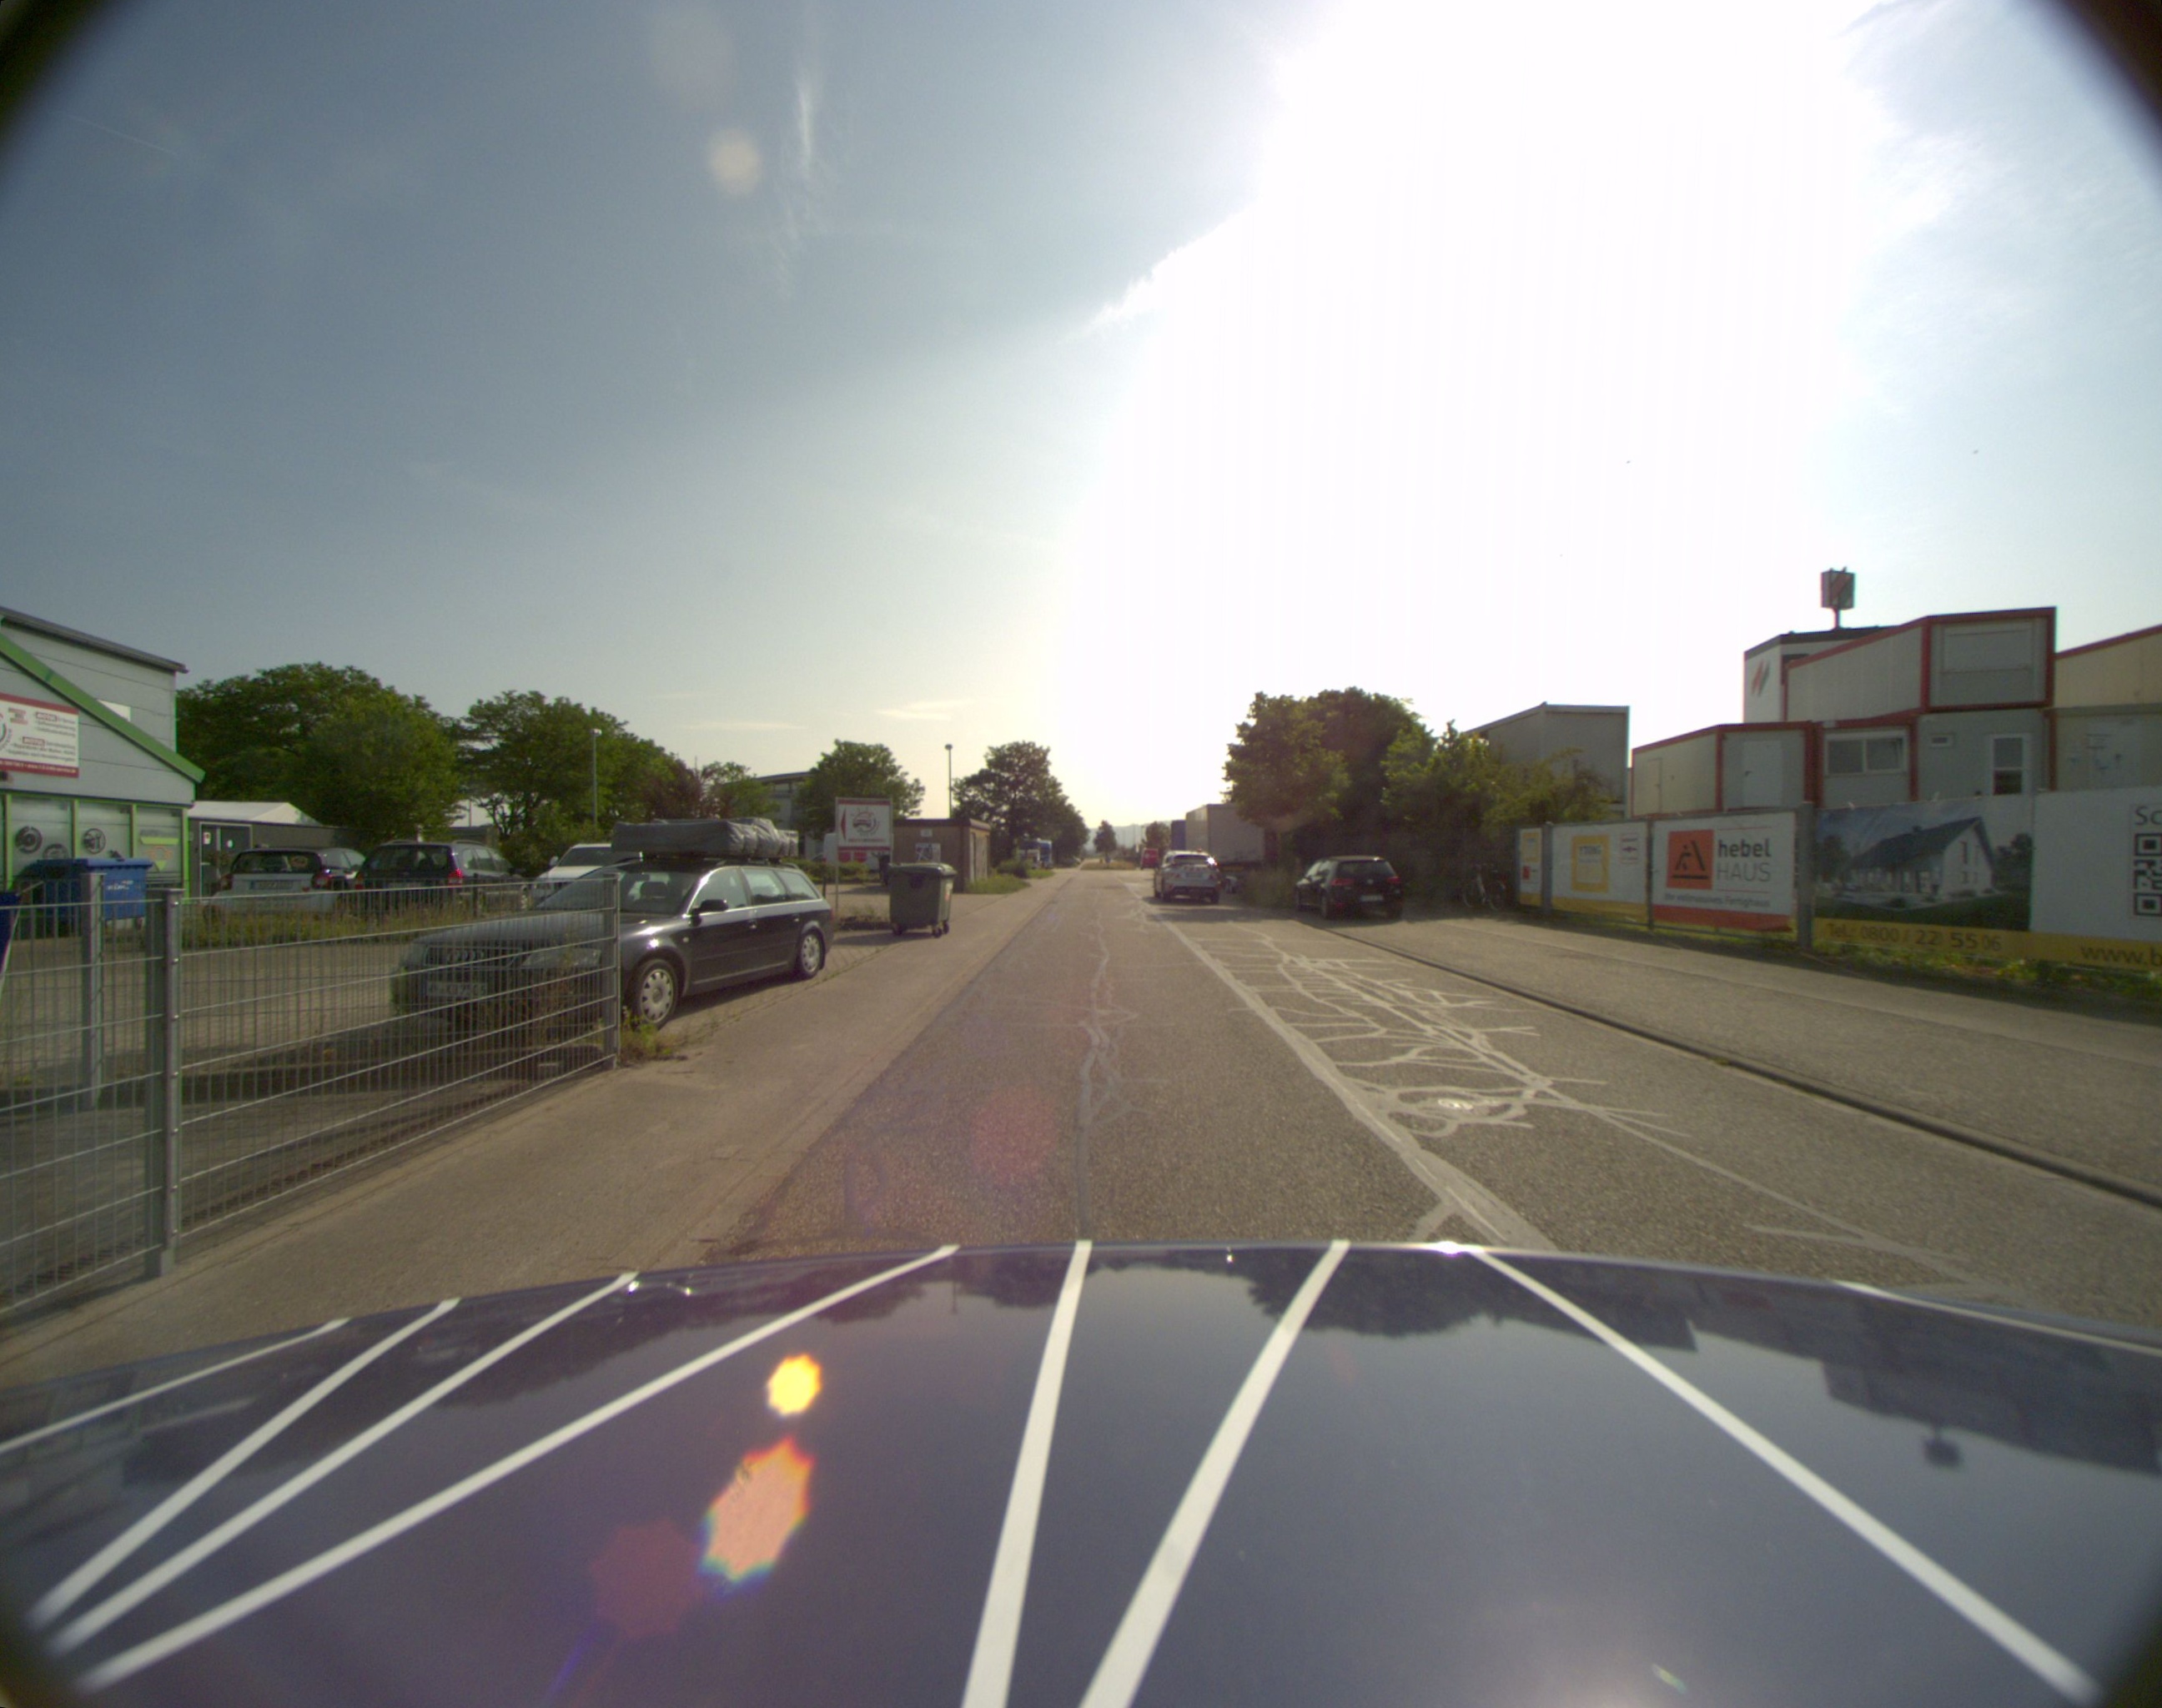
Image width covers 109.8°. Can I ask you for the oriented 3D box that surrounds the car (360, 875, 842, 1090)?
[{"bbox_3d":[-4.107,0.962,7.557,1.677,1.361,4.395,0,0,6],"label":"car"}]

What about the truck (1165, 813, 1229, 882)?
[{"bbox_3d":[7.232,-0.386,48.601,2.719,3.862,9.636,-1,0,1],"label":"truck"}]

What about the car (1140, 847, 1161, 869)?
[{"bbox_3d":[8.549,0.449,93.834,1.998,2.532,6.990,1,0,1],"label":"car"}]

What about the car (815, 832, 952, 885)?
[{"bbox_3d":[-10.345,0.184,40.018,6.750,2.524,2.277,-2,1,-17],"label":"car"}]

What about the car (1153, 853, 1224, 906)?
[{"bbox_3d":[3.521,0.780,25.556,1.816,1.617,4.249,1,0,0],"label":"car"}]

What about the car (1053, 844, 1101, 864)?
[{"bbox_3d":[-0.740,-0.051,132.902,8.151,3.217,2.663,-1,0,-4],"label":"car"}]

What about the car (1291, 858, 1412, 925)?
[{"bbox_3d":[6.544,0.836,18.862,1.691,1.461,4.094,0,0,2],"label":"car"}]

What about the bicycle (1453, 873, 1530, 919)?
[{"bbox_3d":[9.856,0.981,18.364,0.563,0.967,2.452,0,0,0],"label":"bicycle"}]

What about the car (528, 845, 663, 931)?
[{"bbox_3d":[-10.039,0.611,16.030,1.723,1.563,4.125,0,0,-23],"label":"car"}]

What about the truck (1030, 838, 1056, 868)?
[{"bbox_3d":[-5.141,-0.115,103.979,3.043,3.916,10.578,0,0,0],"label":"truck"}]

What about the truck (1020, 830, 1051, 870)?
[{"bbox_3d":[-4.843,-0.423,81.687,2.559,3.958,8.581,2,0,1],"label":"truck"}]

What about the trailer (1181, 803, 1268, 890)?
[{"bbox_3d":[7.047,-0.350,38.858,2.706,3.862,9.765,-1,0,1],"label":"trailer"}]

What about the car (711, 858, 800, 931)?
[{"bbox_3d":[-7.563,0.826,17.718,1.695,1.457,4.254,0,0,-23],"label":"car"}]

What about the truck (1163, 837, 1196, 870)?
[{"bbox_3d":[12.004,-0.067,93.381,2.783,3.831,10.063,1,0,1],"label":"truck"}]

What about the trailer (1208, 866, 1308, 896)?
[{"bbox_3d":[6.970,1.033,30.872,2.655,0.979,6.243,1,0,0],"label":"trailer"}]

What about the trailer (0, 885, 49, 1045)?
[{"bbox_3d":[-8.832,0.891,4.708,1.496,1.241,2.972,-2,0,-21],"label":"trailer"}]

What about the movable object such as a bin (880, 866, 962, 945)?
[{"bbox_3d":[-2.983,0.926,14.335,1.083,1.345,1.506,2,0,4],"label":"movable object such as a bin"}]

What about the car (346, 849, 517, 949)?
[{"bbox_3d":[-12.502,0.768,14.864,1.646,1.710,3.207,0,0,-23],"label":"car"}]

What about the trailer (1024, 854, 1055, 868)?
[{"bbox_3d":[-4.730,0.786,89.530,2.553,1.383,14.135,1,0,1],"label":"trailer"}]
